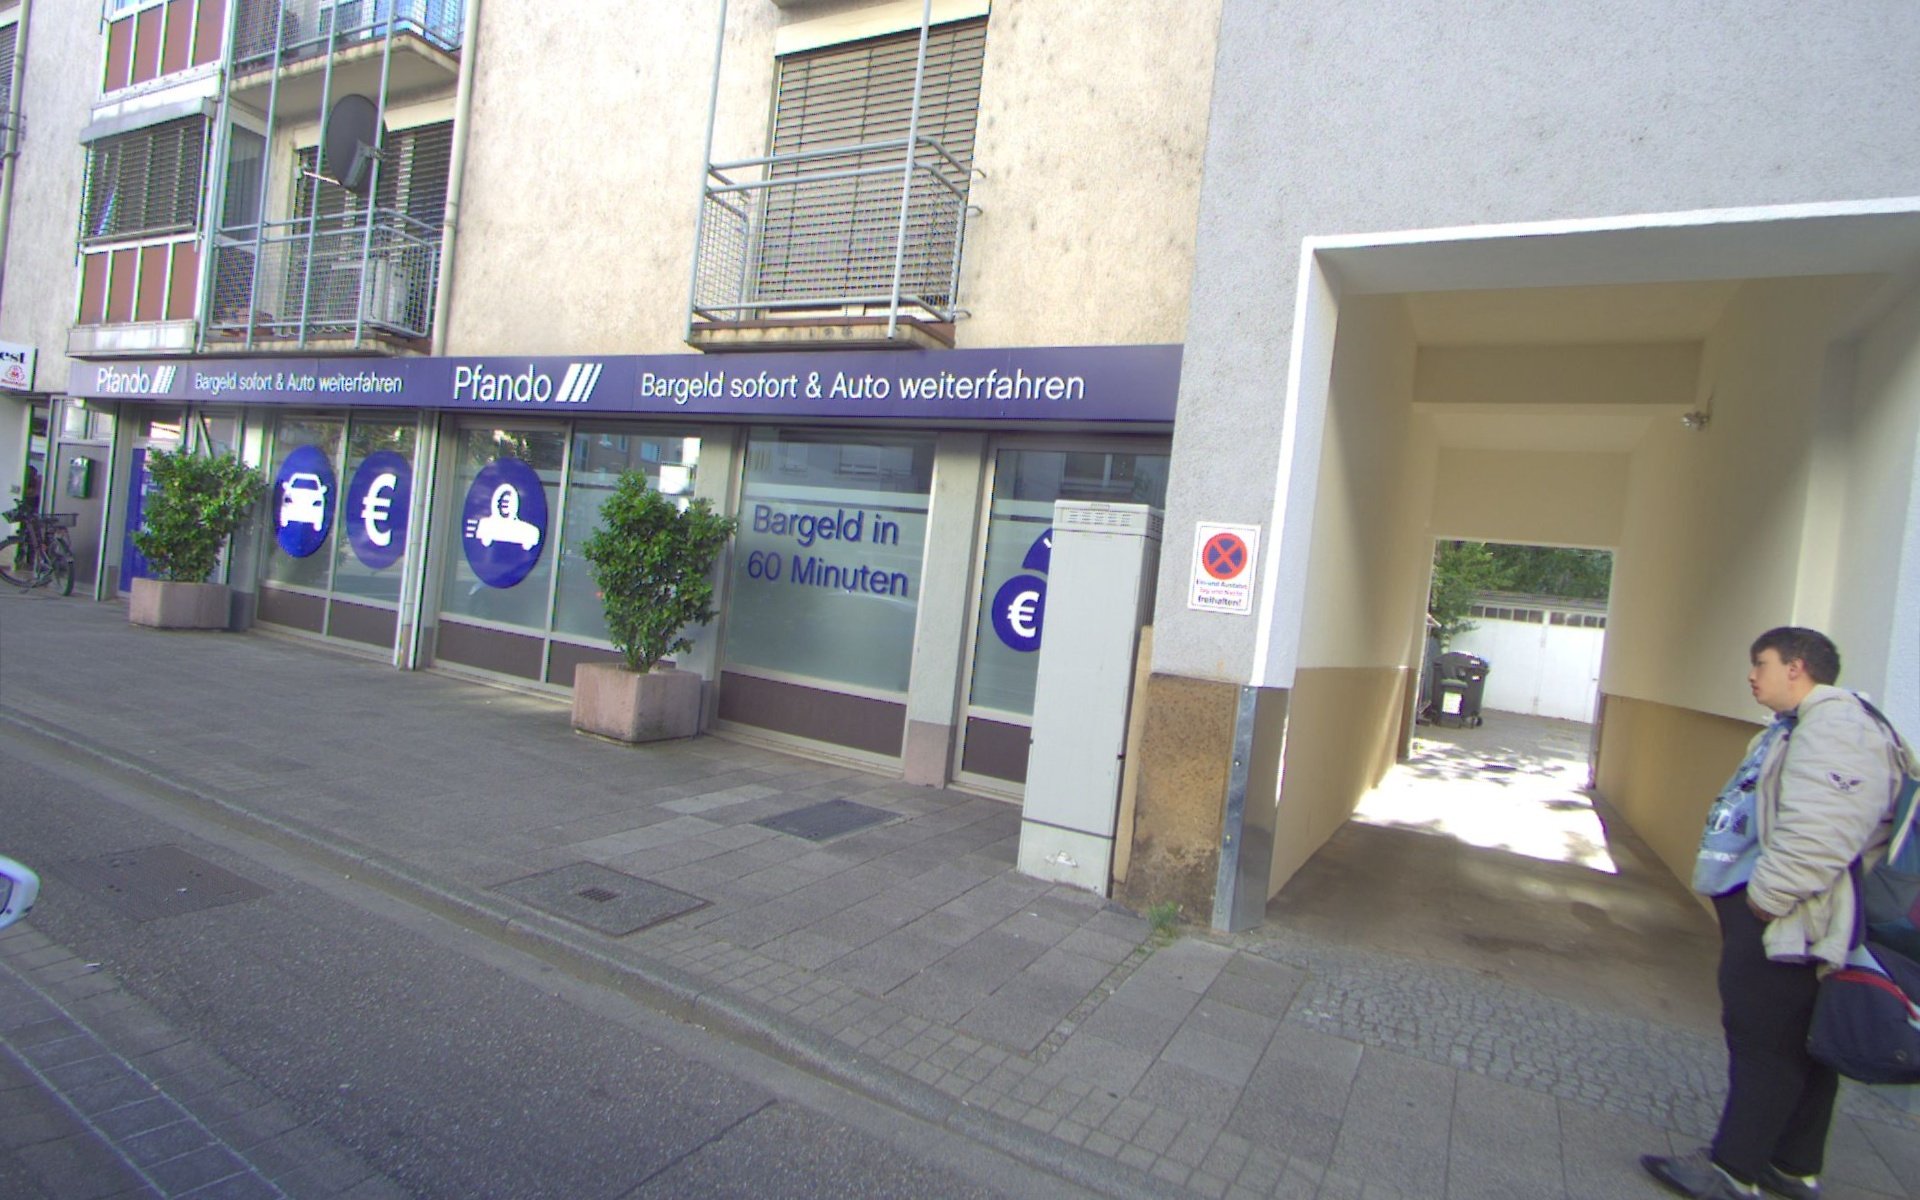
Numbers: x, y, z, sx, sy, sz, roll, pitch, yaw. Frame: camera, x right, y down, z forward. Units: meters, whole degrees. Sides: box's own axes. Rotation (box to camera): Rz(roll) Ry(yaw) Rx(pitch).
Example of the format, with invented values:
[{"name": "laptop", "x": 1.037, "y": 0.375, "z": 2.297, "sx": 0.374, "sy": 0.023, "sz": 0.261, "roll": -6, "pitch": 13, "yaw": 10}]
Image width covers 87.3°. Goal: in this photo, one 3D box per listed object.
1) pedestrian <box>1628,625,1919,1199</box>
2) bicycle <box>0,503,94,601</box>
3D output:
[{"name": "pedestrian", "x": 2.431, "y": 0.891, "z": 2.688, "sx": 0.854, "sy": 1.555, "sz": 0.825, "roll": 7, "pitch": 3, "yaw": 30}, {"name": "bicycle", "x": -11.894, "y": -0.642, "z": 12.902, "sx": 1.779, "sy": 1.086, "sz": 0.531, "roll": 7, "pitch": 1, "yaw": 28}]
